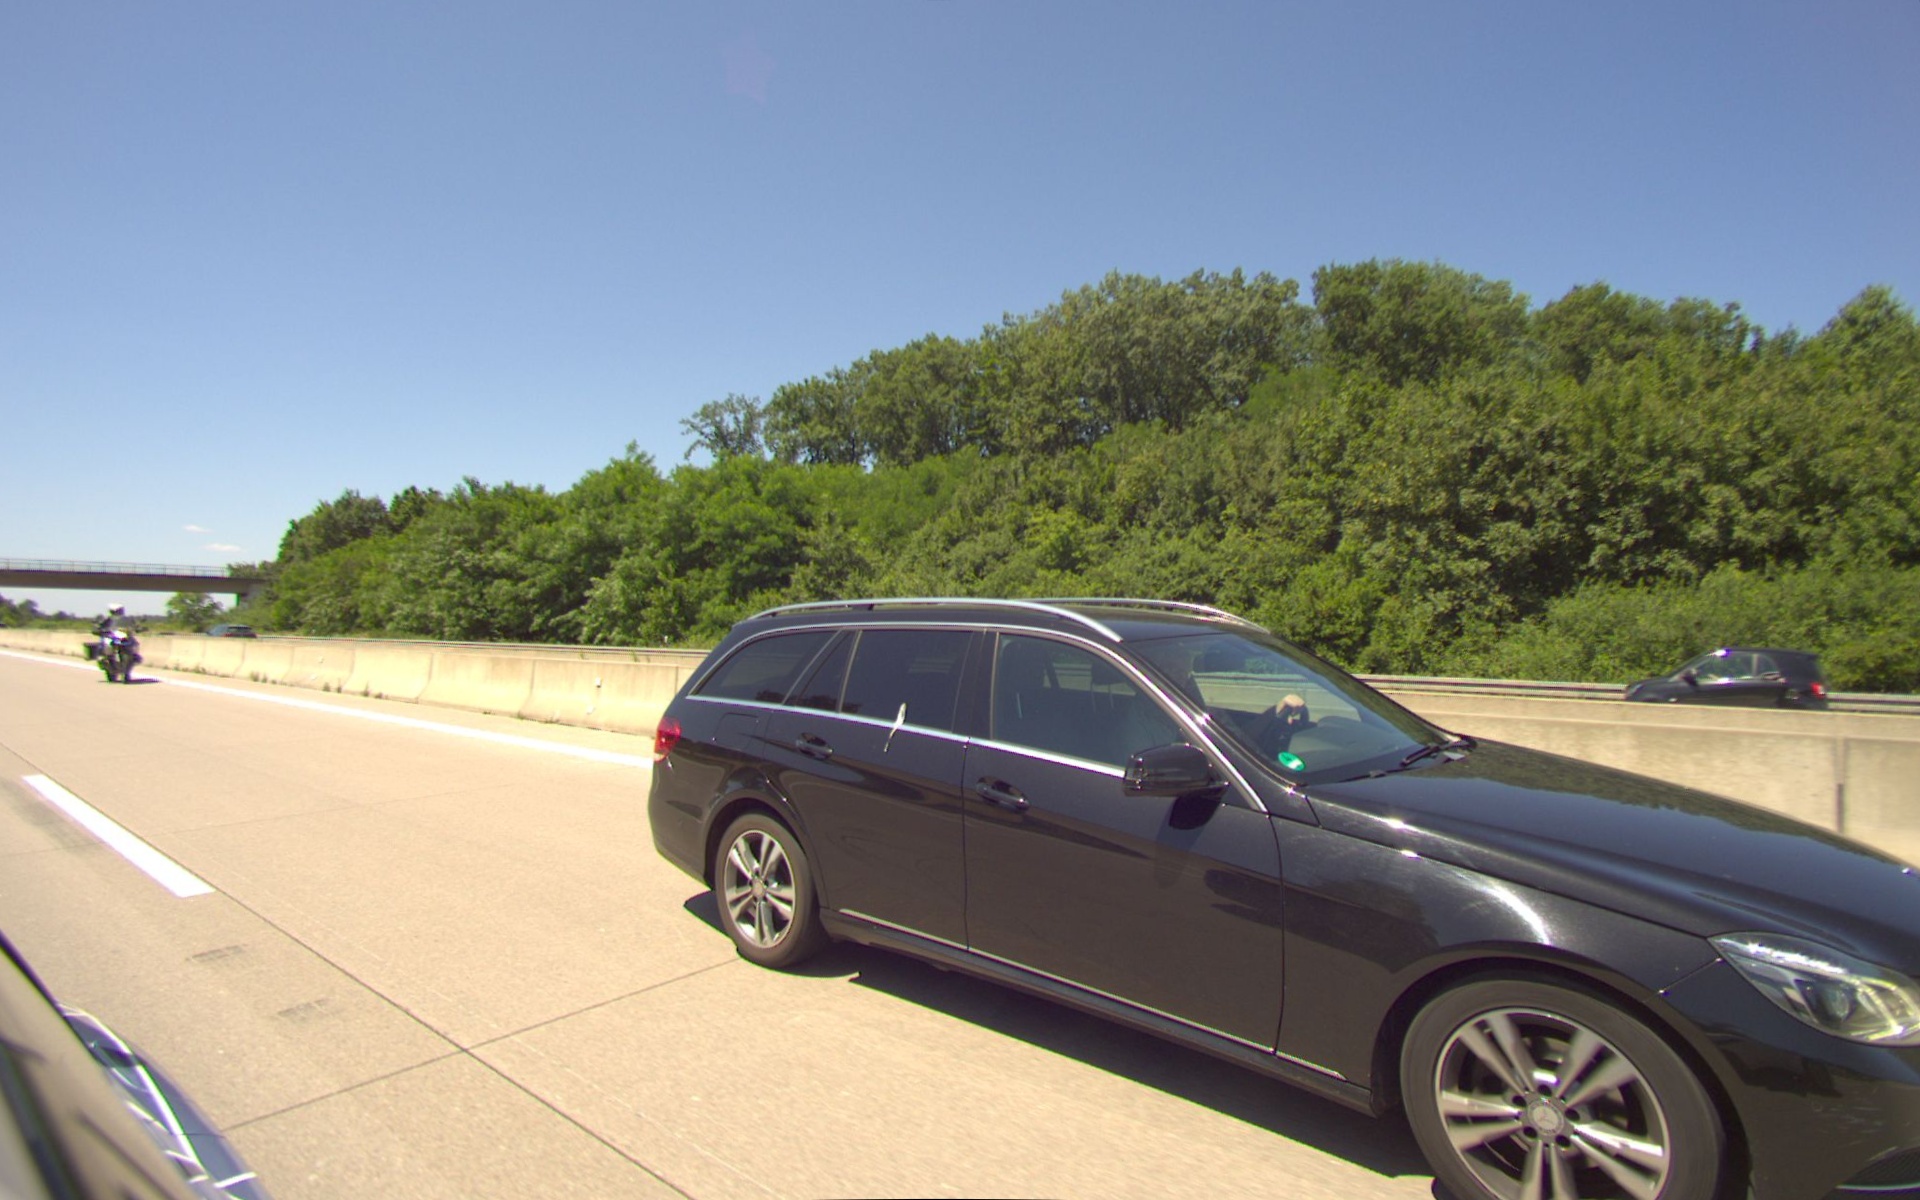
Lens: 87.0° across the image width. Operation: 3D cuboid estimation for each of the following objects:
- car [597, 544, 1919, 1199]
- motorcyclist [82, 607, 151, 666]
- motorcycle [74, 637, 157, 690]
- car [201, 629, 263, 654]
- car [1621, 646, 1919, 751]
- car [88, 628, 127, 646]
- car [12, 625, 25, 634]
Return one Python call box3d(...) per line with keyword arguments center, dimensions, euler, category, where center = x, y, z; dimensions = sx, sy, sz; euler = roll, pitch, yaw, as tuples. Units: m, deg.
box3d(center=(1.005, 0.701, 3.641), dimensions=(5.600, 1.484, 1.871), euler=(-2, -2, 41), category="car")
box3d(center=(-18.186, 0.784, 21.822), dimensions=(0.911, 1.218, 1.014), euler=(-2, -2, 41), category="motorcyclist")
box3d(center=(-18.203, 1.332, 21.801), dimensions=(2.411, 1.057, 1.010), euler=(-2, -2, 41), category="motorcycle")
box3d(center=(-40.710, 2.313, 56.573), dimensions=(4.856, 1.325, 1.660), euler=(-1, -2, 40), category="car")
box3d(center=(12.860, 1.457, 15.833), dimensions=(3.999, 1.386, 1.907), euler=(-1, -2, 42), category="car")
box3d(center=(-69.092, 2.990, 81.996), dimensions=(4.504, 1.396, 1.692), euler=(-1, -2, 40), category="car")
box3d(center=(-167.759, 5.244, 180.317), dimensions=(3.101, 1.595, 1.383), euler=(-1, -2, 42), category="car")
